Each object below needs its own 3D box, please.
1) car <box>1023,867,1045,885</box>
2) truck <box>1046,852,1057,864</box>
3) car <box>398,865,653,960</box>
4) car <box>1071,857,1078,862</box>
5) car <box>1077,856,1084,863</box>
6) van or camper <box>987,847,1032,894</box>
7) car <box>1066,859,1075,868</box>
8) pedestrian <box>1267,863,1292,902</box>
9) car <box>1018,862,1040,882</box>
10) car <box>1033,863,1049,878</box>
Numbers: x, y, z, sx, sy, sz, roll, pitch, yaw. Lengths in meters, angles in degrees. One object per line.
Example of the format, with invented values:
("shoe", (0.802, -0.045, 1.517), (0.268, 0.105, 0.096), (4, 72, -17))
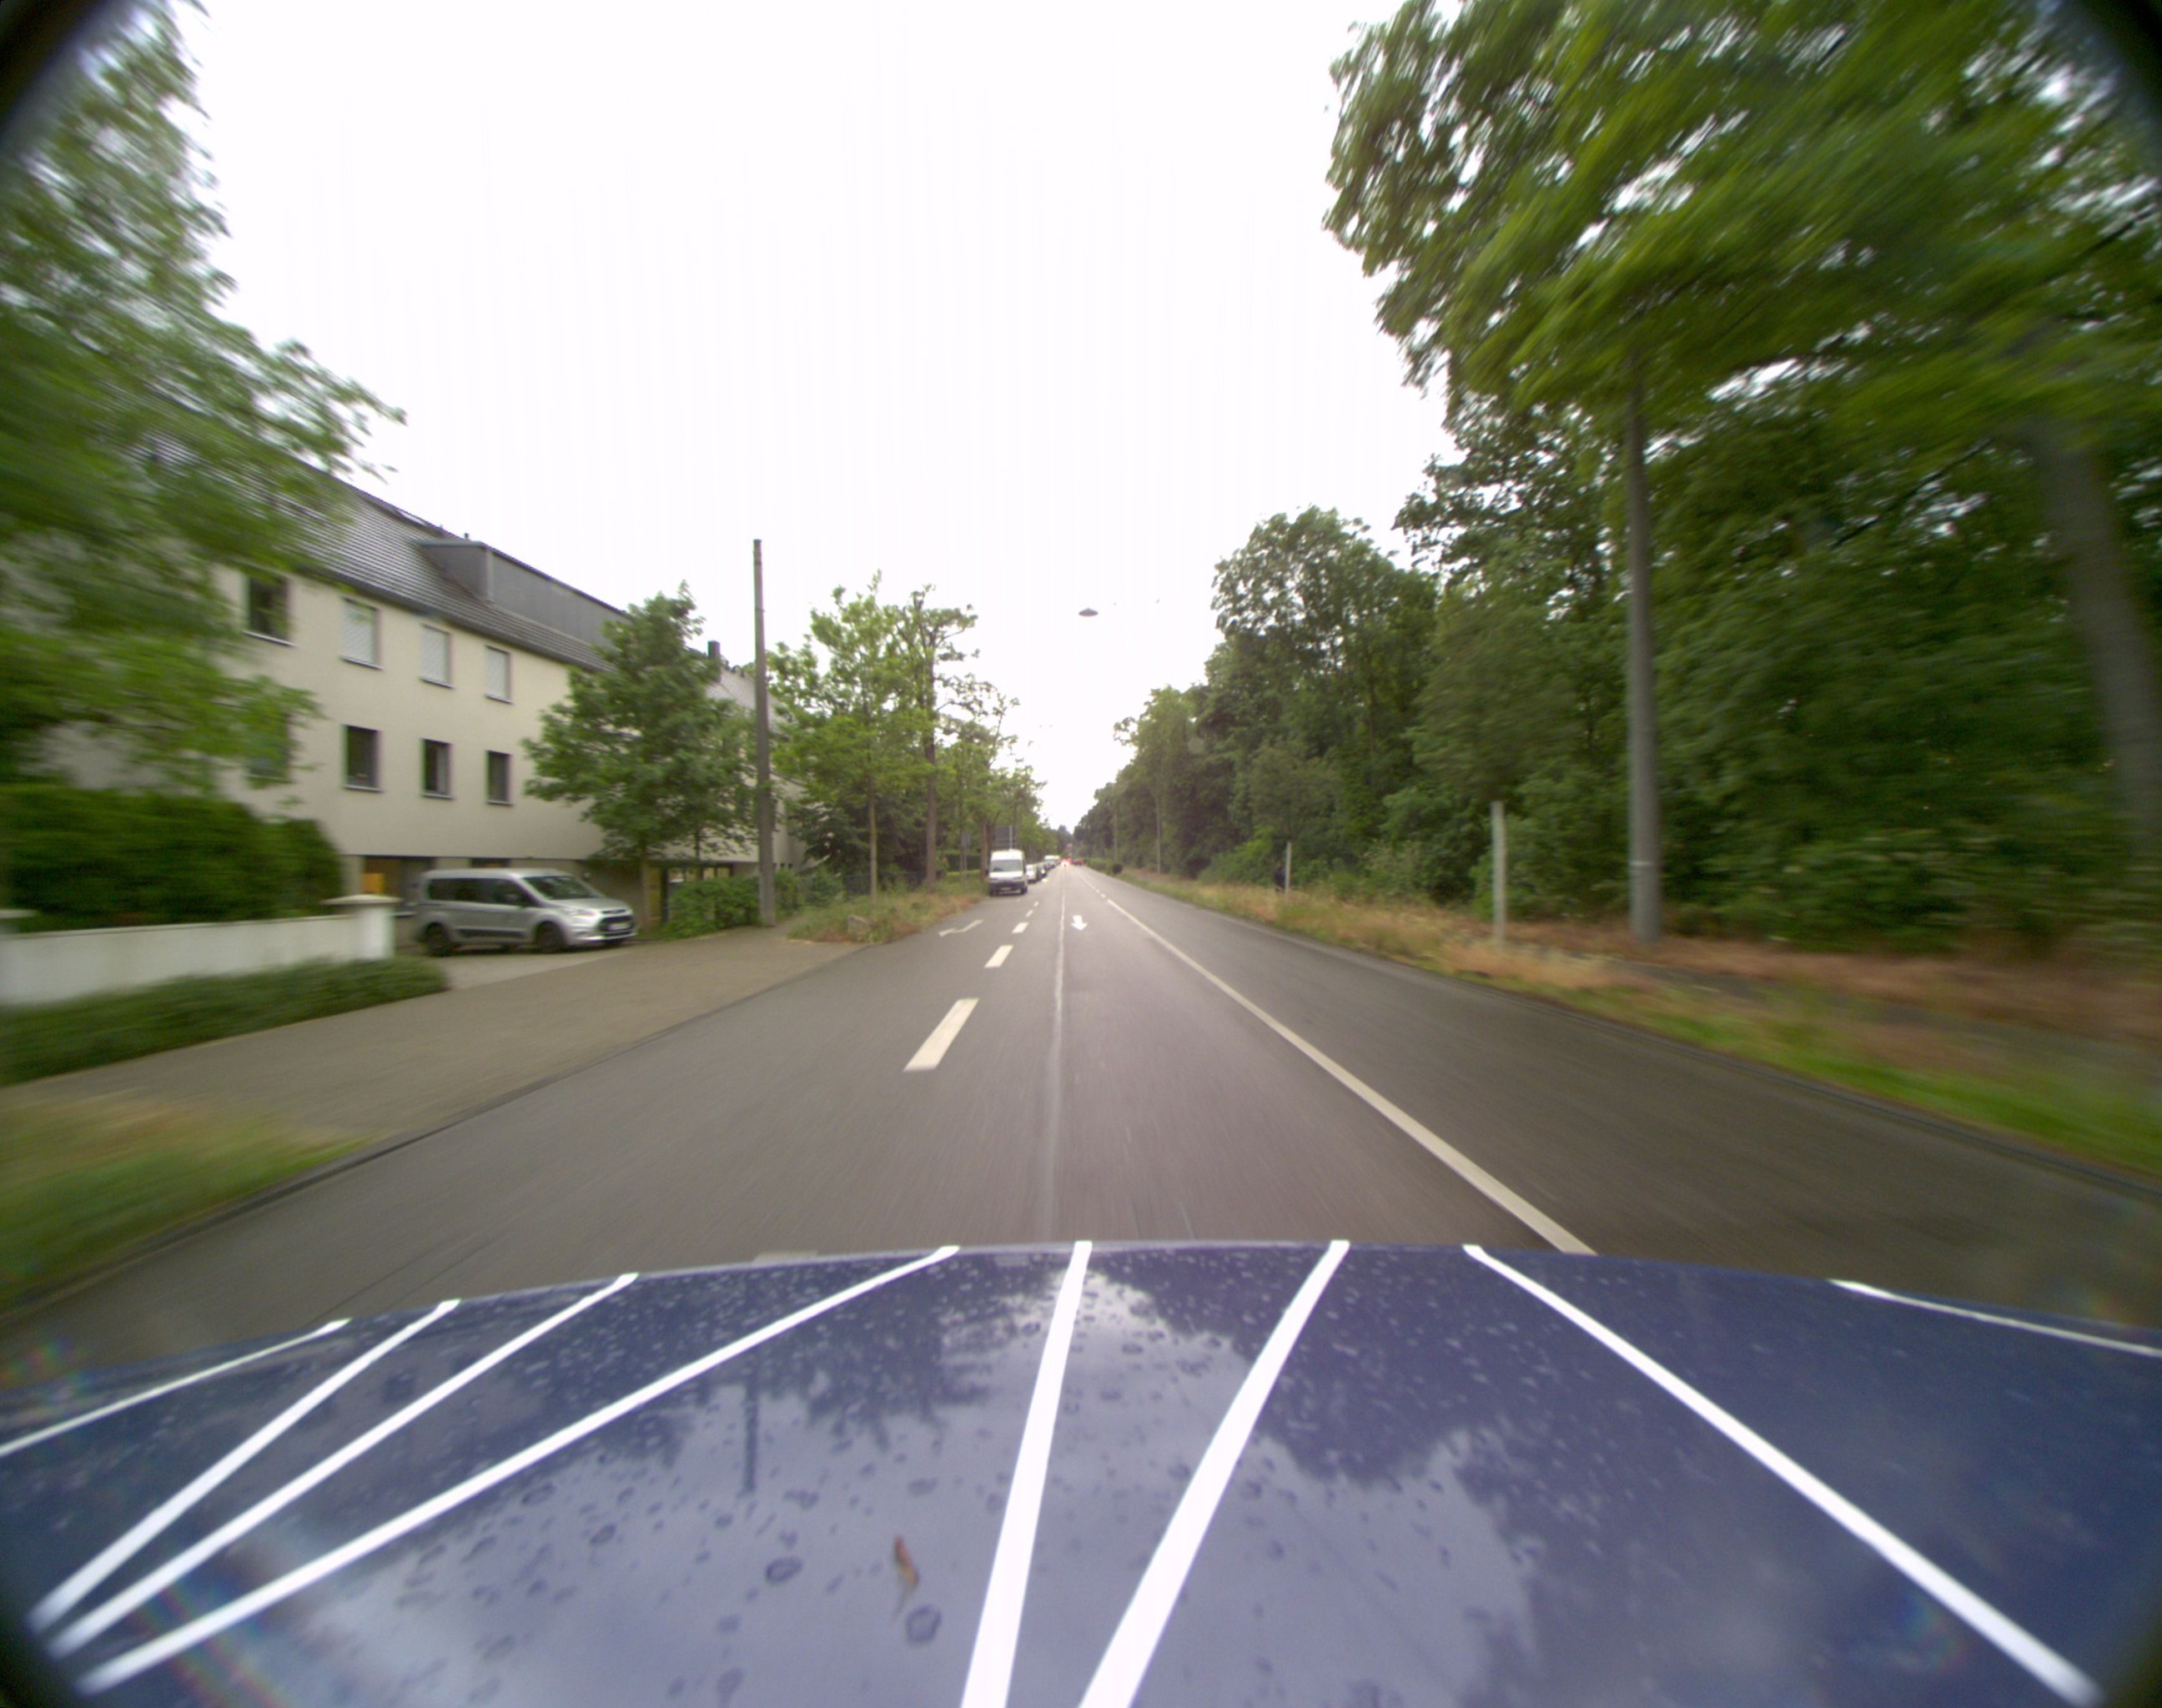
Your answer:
("car", (-4.235, 2.022, 69.163), (1.621, 1.462, 3.944), (-3, 0, 0))
("truck", (-6.043, 0.816, 155.593), (2.230, 2.321, 5.113), (0, 0, -2))
("car", (-11.806, 1.224, 16.281), (4.312, 1.807, 1.876), (-2, 0, 10))
("car", (-1.948, 1.638, 222.411), (1.852, 1.490, 3.999), (0, 0, -3))
("car", (-0.115, 1.401, 184.215), (1.681, 1.608, 4.061), (0, 0, -2))
("van or camper", (-4.062, 0.904, 43.984), (2.042, 2.465, 5.638), (-3, 0, -1))
("car", (-2.473, 2.254, 179.117), (1.998, 2.002, 3.999), (-2, 1, 1))
("pedestrian", (8.163, 1.170, 31.256), (0.783, 1.598, 0.732), (-1, 0, -2))
("car", (-4.290, 1.464, 63.305), (1.576, 1.463, 3.764), (-3, 0, -1))
("car", (-4.235, 1.722, 80.449), (1.622, 1.459, 4.409), (-3, 0, -2))
